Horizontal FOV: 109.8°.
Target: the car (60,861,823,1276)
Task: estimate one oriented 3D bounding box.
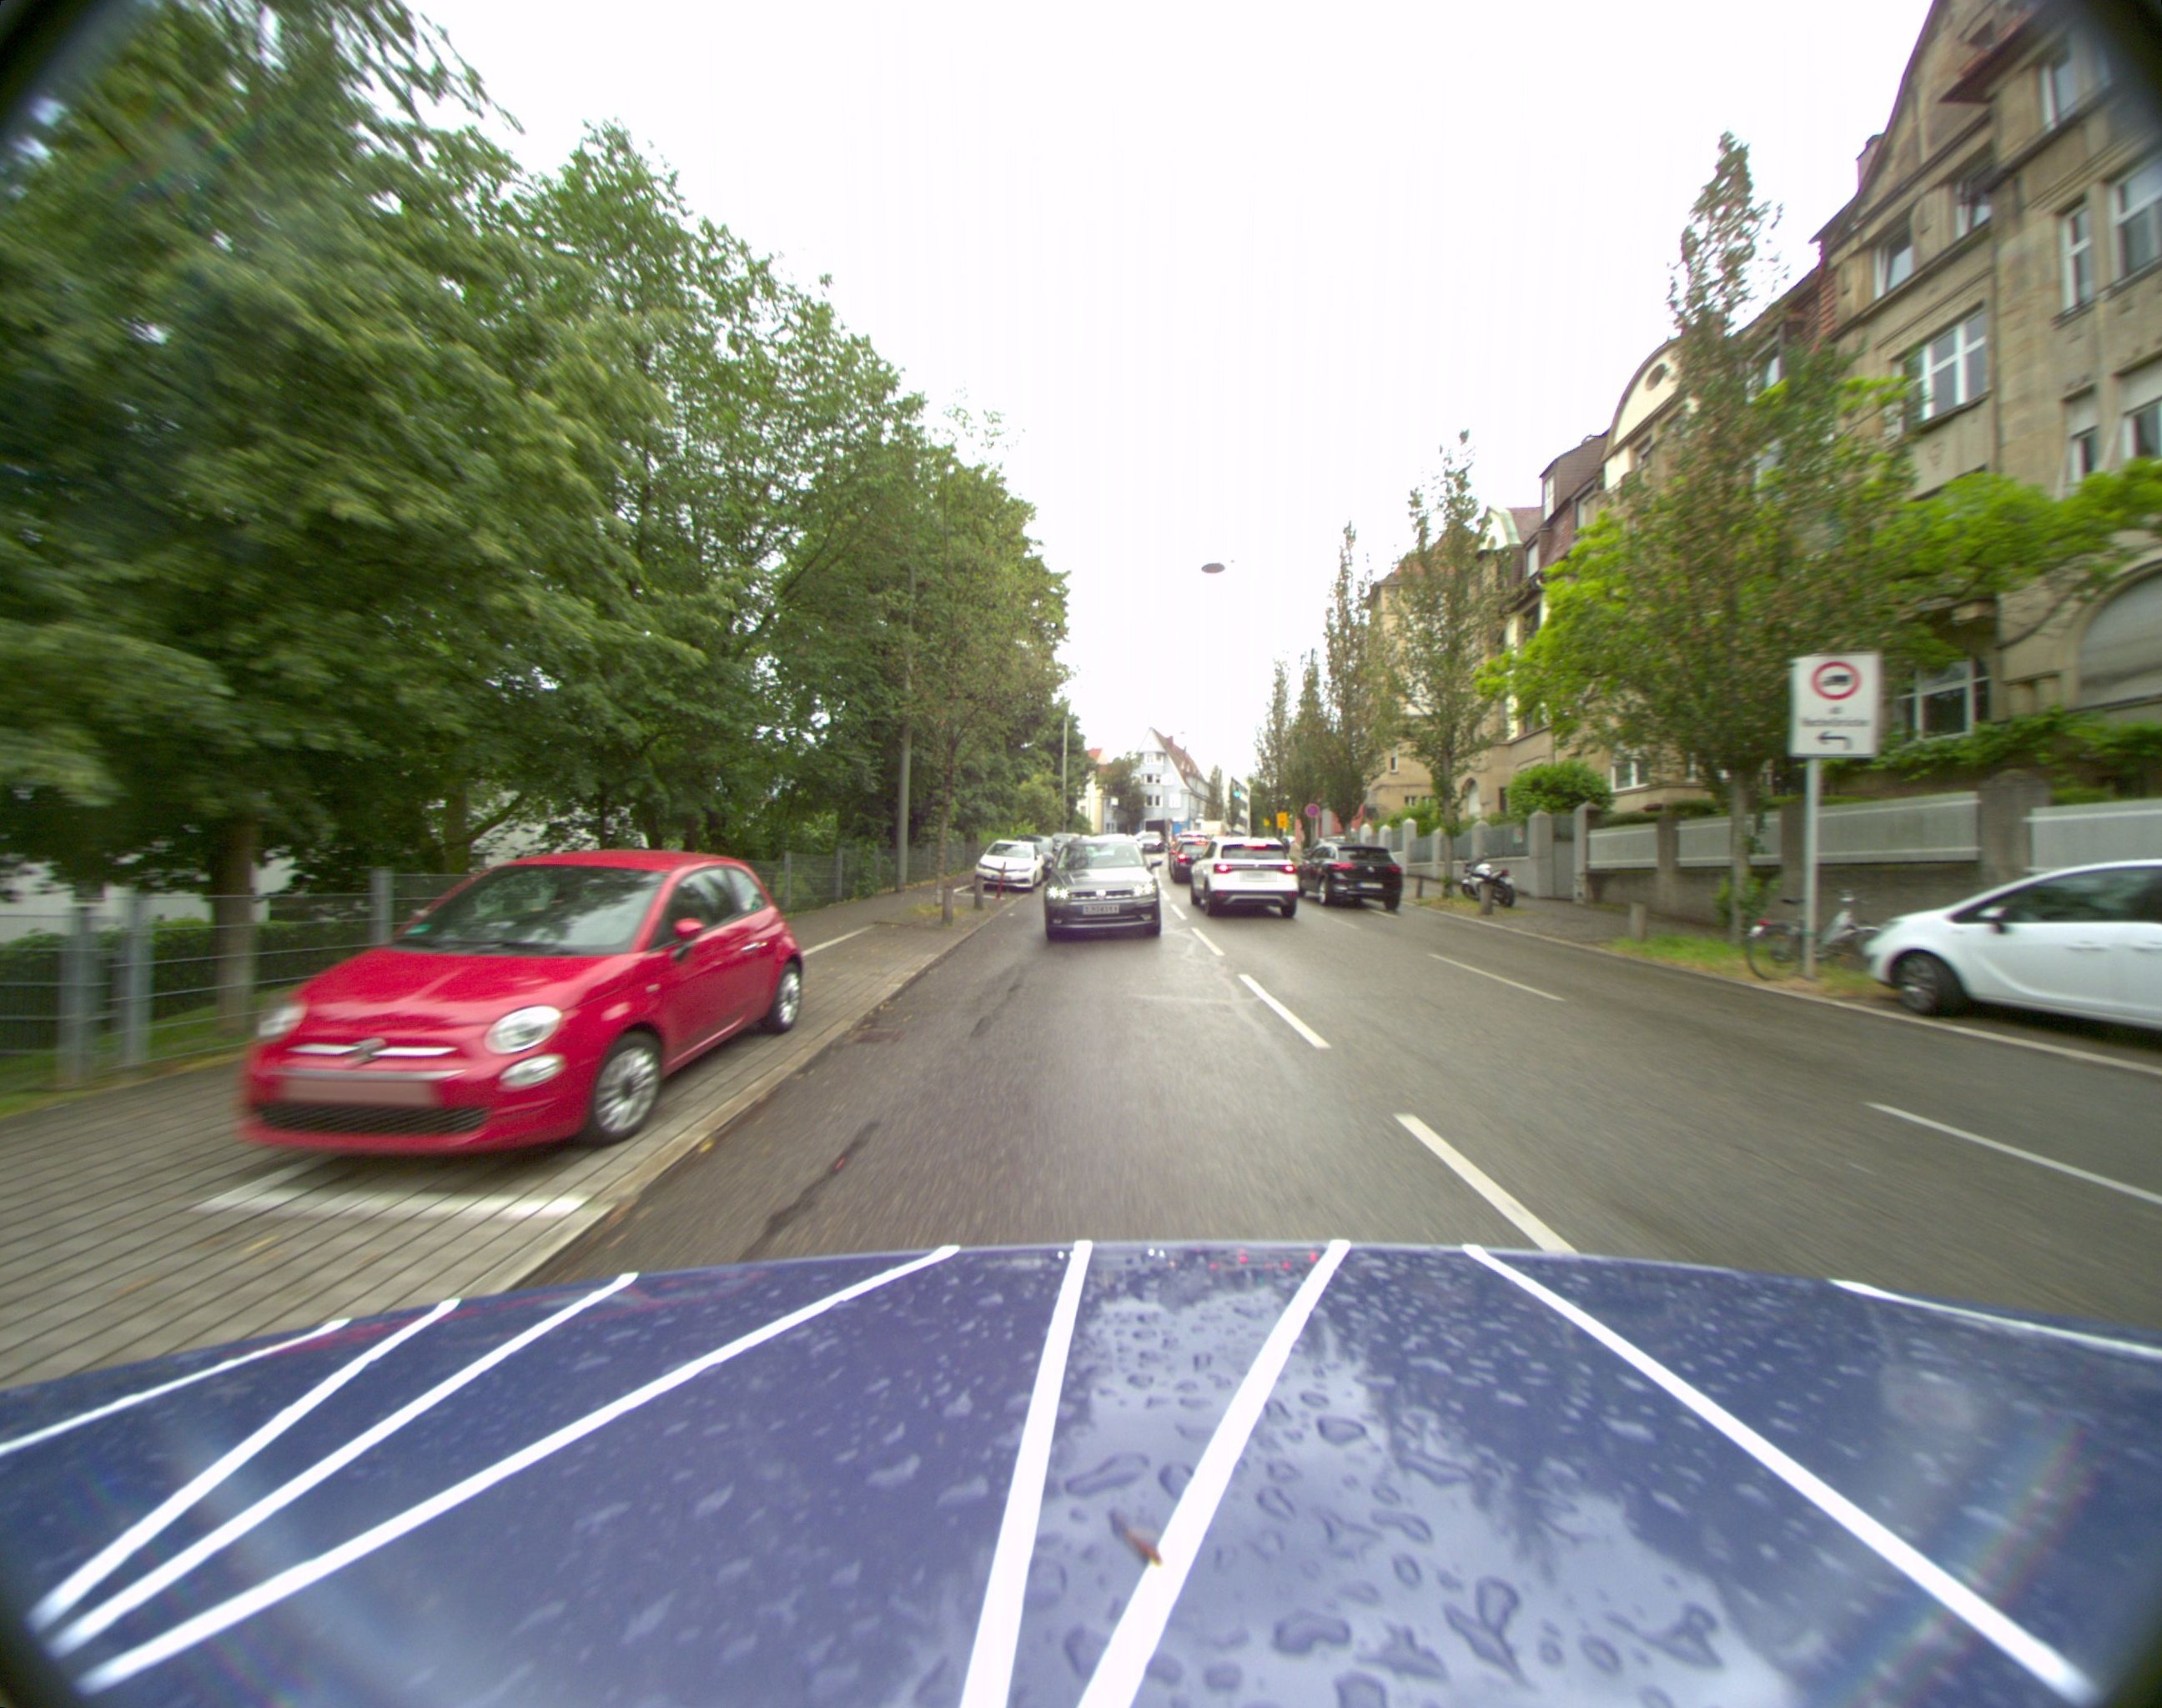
[{"bbox_3d":[-3.167,0.865,4.948,1.613,1.493,3.957,1,1,0],"label":"car"}]

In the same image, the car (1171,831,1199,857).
[{"bbox_3d":[6.622,-0.659,48.820,1.621,1.515,4.115,3,1,6],"label":"car"}]

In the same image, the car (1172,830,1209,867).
[{"bbox_3d":[5.558,-0.318,38.928,1.655,1.698,4.114,3,2,6],"label":"car"}]

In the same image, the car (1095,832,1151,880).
[{"bbox_3d":[1.558,0.048,28.686,1.925,1.641,4.486,-1,1,2],"label":"car"}]

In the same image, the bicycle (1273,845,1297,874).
[{"bbox_3d":[8.883,0.216,33.146,0.657,1.228,1.982,1,1,6],"label":"bicycle"}]

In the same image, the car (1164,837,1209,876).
[{"bbox_3d":[4.394,0.076,32.057,1.715,1.471,4.115,3,1,6],"label":"car"}]

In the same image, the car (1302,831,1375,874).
[{"bbox_3d":[10.615,-0.092,31.588,2.000,1.586,3.828,-3,1,5],"label":"car"}]

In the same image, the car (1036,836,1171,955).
[{"bbox_3d":[0.287,0.567,13.064,1.860,1.641,5.194,0,0,-1],"label":"car"}]

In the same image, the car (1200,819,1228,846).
[{"bbox_3d":[13.226,-2.085,75.216,2.133,2.492,5.415,3,1,15],"label":"car"}]

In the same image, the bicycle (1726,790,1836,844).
[{"bbox_3d":[16.679,-0.878,18.135,1.980,1.228,0.657,1,1,0],"label":"bicycle"}]

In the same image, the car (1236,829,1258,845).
[{"bbox_3d":[23.213,-2.398,106.138,2.132,2.015,5.417,3,1,20],"label":"car"}]

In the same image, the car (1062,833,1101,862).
[{"bbox_3d":[0.066,-0.414,45.643,1.924,1.552,4.012,4,2,4],"label":"car"}]

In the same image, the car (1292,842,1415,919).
[{"bbox_3d":[6.616,0.565,18.881,1.748,1.509,3.868,3,3,3],"label":"car"}]

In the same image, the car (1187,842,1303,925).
[{"bbox_3d":[3.350,0.522,16.260,1.776,1.509,4.100,1,1,3],"label":"car"}]

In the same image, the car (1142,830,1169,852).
[{"bbox_3d":[5.770,-0.984,58.366,1.924,1.641,4.136,-1,1,7],"label":"car"}]

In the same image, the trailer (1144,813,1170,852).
[{"bbox_3d":[6.172,-1.699,61.597,1.966,3.024,2.365,-1,1,7],"label":"trailer"}]

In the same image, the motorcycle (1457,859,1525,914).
[{"bbox_3d":[9.940,0.750,18.492,0.657,1.228,1.982,1,1,4],"label":"motorcycle"}]

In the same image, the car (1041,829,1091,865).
[{"bbox_3d":[-0.725,-0.427,39.752,1.971,1.642,4.816,4,2,5],"label":"car"}]

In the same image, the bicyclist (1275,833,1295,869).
[{"bbox_3d":[8.883,-0.145,33.120,0.657,1.548,0.991,1,1,6],"label":"bicyclist"}]

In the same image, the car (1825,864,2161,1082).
[{"bbox_3d":[9.127,0.946,6.239,1.746,1.550,4.300,-2,1,-2],"label":"car"}]

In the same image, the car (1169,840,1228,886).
[{"bbox_3d":[3.951,0.247,26.023,1.766,1.423,3.885,1,2,5],"label":"car"}]

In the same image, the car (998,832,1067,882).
[{"bbox_3d":[-1.766,0.066,29.412,1.924,1.641,4.884,4,1,4],"label":"car"}]

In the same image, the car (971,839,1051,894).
[{"bbox_3d":[-2.078,0.311,24.002,1.745,1.455,4.884,4,1,3],"label":"car"}]

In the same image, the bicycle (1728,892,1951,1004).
[{"bbox_3d":[9.031,1.100,9.094,1.980,1.228,0.657,1,1,0],"label":"bicycle"}]
